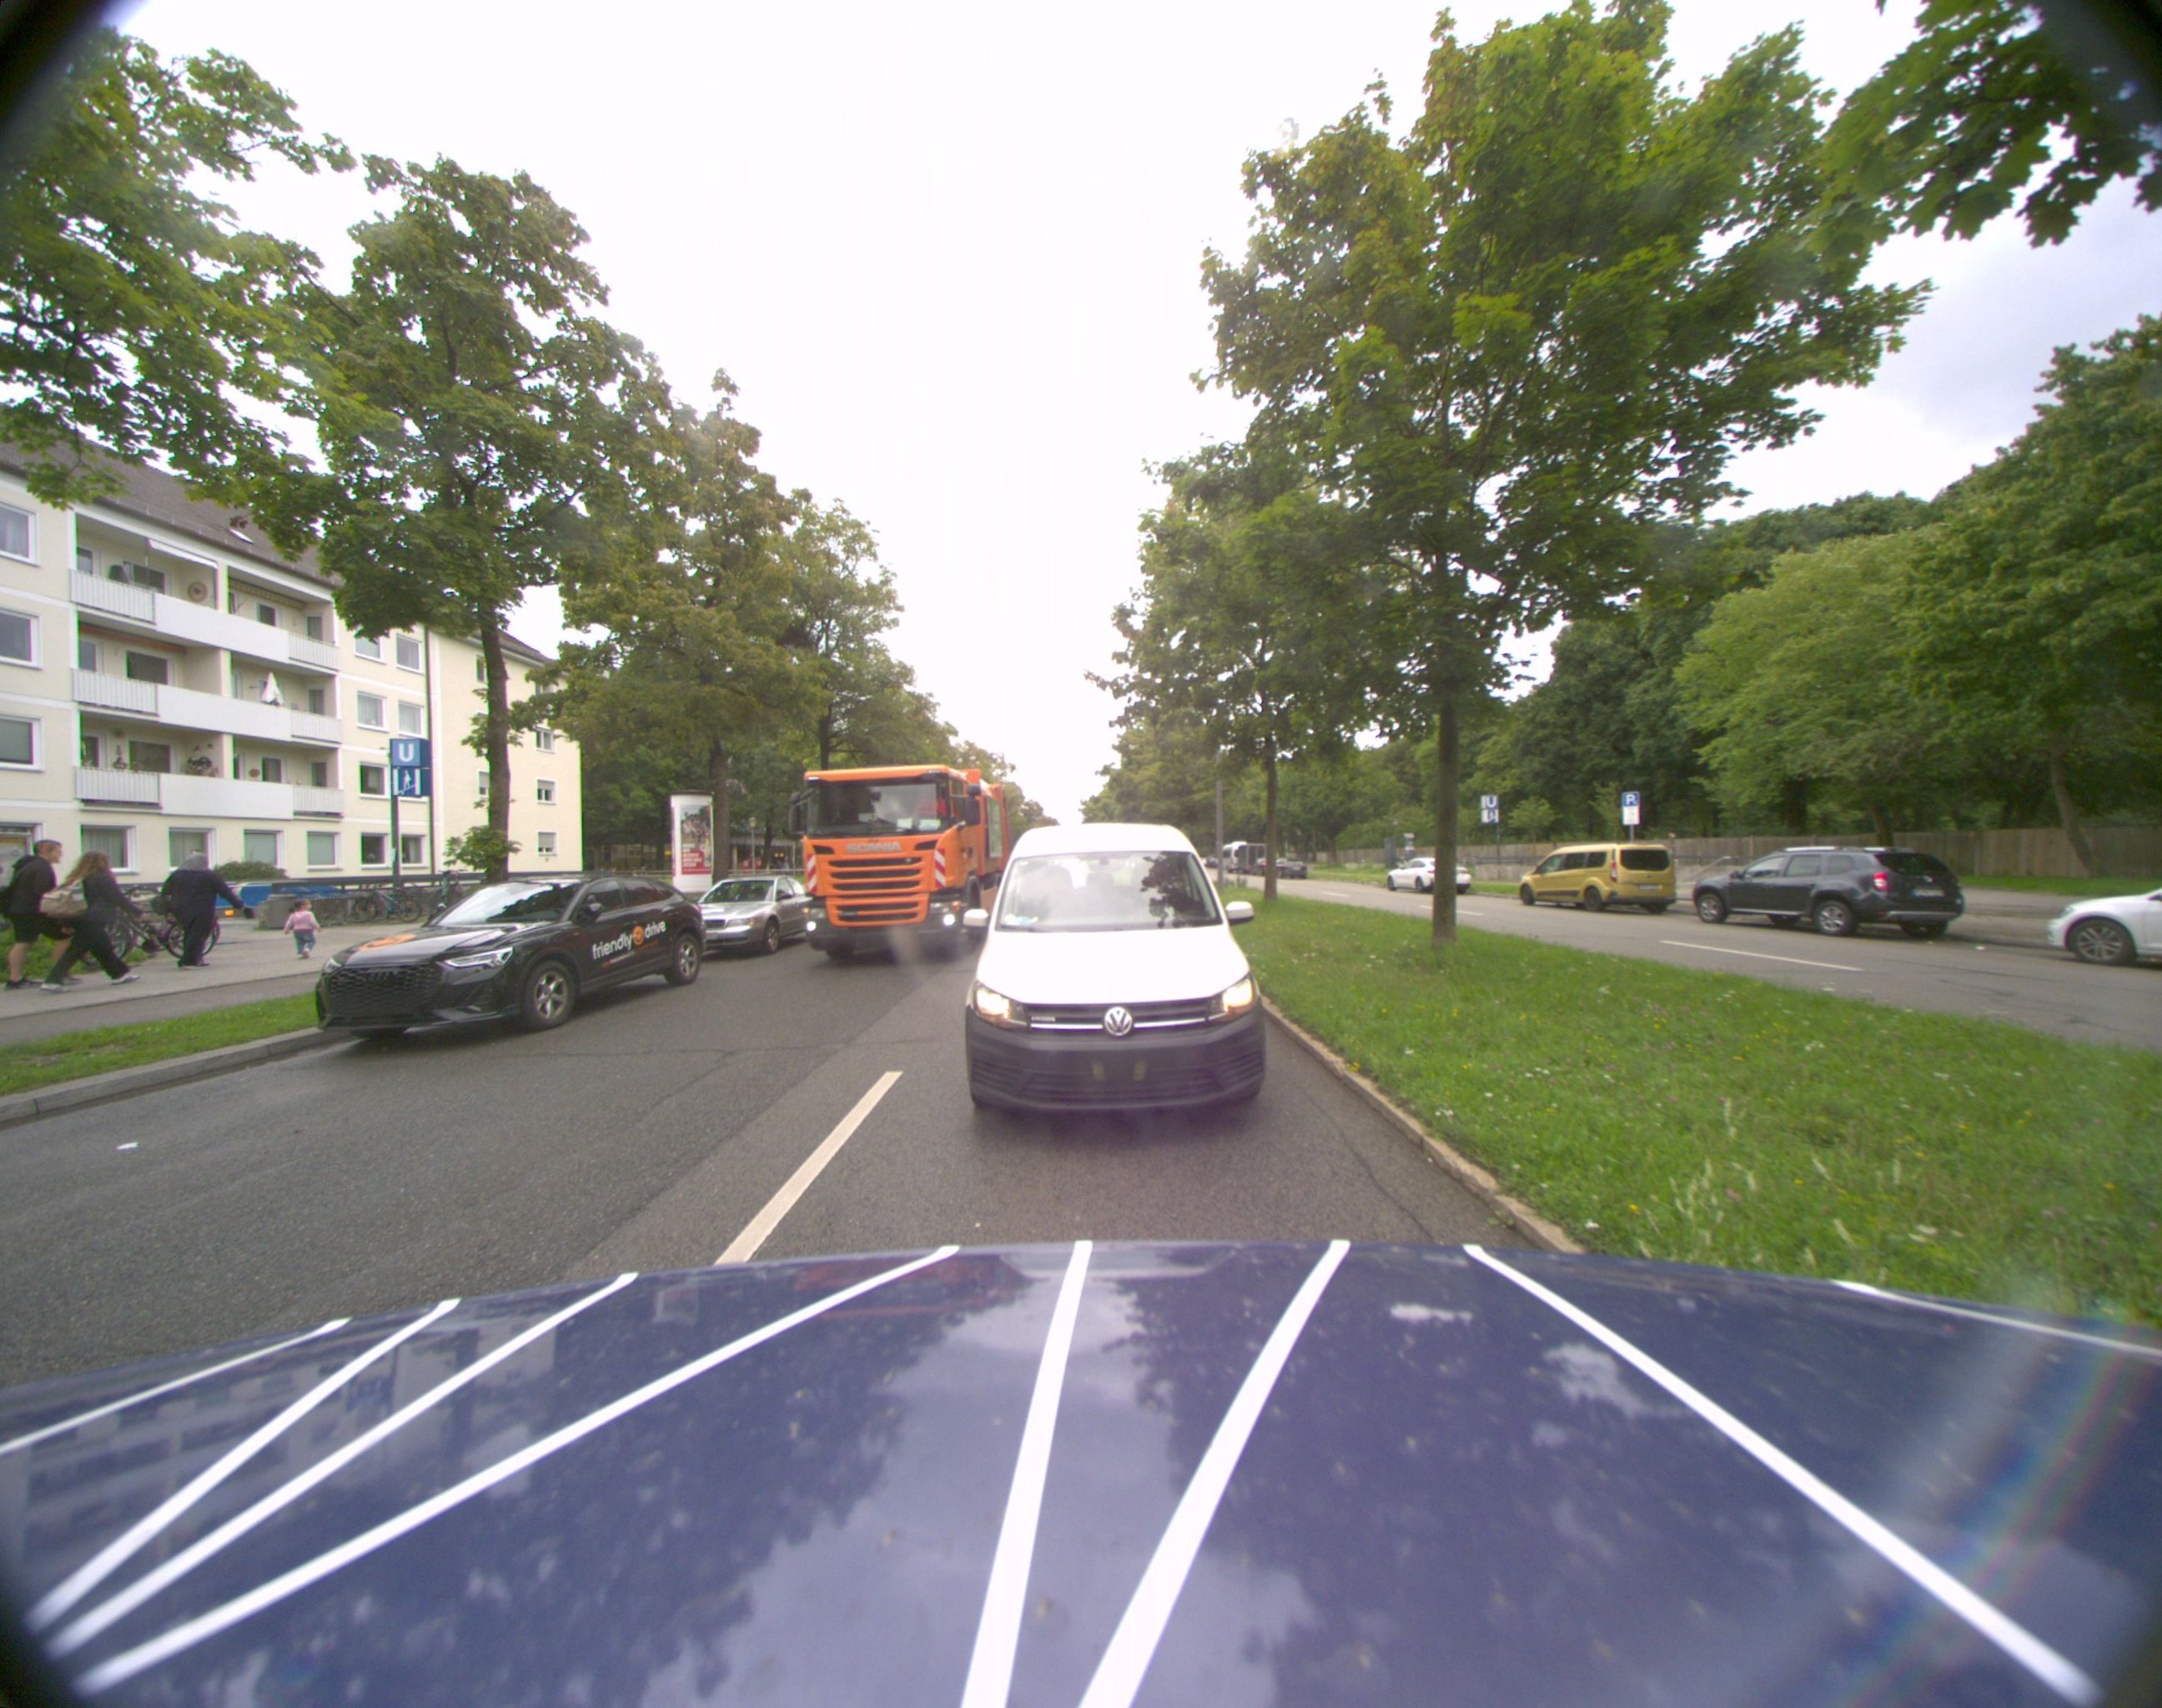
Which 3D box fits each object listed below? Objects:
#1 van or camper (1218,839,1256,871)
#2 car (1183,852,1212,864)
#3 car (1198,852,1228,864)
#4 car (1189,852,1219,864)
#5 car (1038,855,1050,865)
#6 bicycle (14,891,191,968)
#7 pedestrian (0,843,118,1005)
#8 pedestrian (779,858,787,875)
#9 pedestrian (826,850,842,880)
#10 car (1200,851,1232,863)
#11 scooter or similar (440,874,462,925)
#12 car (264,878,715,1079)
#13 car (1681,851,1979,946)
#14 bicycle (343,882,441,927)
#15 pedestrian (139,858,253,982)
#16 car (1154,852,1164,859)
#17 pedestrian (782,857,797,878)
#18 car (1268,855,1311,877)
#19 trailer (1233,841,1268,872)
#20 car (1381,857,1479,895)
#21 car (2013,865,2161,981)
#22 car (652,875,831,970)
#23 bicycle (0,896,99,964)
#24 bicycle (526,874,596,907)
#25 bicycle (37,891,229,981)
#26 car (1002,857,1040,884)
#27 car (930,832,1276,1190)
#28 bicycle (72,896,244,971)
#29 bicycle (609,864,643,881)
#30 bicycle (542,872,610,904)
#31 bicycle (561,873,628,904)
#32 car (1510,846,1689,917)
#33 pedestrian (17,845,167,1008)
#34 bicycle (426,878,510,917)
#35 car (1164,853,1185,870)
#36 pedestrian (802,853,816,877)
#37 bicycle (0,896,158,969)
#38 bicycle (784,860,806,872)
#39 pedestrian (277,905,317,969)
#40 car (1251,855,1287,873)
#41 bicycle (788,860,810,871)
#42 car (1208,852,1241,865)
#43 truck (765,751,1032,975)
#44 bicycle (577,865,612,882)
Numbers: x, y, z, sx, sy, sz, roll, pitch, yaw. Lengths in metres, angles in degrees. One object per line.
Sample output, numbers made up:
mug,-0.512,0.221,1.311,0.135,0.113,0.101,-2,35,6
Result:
van or camper,14.570,0.092,71.459,2.040,2.821,7.546,0,0,0
car,17.668,0.565,115.520,4.006,1.548,1.887,-3,0,-32
car,19.109,0.578,109.964,4.005,1.446,1.736,-3,0,-27
car,18.305,0.564,112.953,4.005,1.548,1.888,-3,0,-27
car,-5.887,0.991,122.240,1.735,1.498,4.441,-2,0,-1
bicycle,-15.958,1.192,12.478,0.432,1.095,1.883,0,0,1
pedestrian,-12.667,0.808,9.226,0.731,1.879,0.919,0,1,-1
pedestrian,-27.731,1.147,70.688,0.633,1.533,0.659,1,1,-26
pedestrian,-14.653,0.663,45.089,0.641,1.739,0.849,1,0,-1
car,19.044,0.468,106.914,4.005,1.455,1.888,-3,0,-27
scooter or similar,-15.861,1.127,19.125,0.359,1.193,1.386,-1,1,-42
car,-6.129,1.139,8.688,1.721,1.524,4.275,-2,0,0
car,14.613,0.769,15.236,1.741,1.636,4.255,0,0,0
bicycle,-16.535,1.204,18.249,1.882,1.022,0.432,0,1,-3
pedestrian,-12.729,0.907,10.966,0.843,1.671,0.832,-1,1,-34
car,16.877,0.355,164.049,1.889,1.435,4.169,-2,1,4
pedestrian,-22.599,1.024,58.917,0.780,1.565,0.581,-2,1,18
car,14.507,0.815,53.067,1.805,1.417,4.431,0,0,0
trailer,14.525,0.215,65.405,2.022,2.575,4.658,0,0,0
car,14.656,0.878,32.225,1.861,1.464,4.874,0,0,0
car,14.573,0.896,8.877,1.767,1.441,4.532,0,0,0
car,-6.298,1.194,14.661,1.640,1.378,4.243,-2,0,-3
bicycle,-17.696,1.263,12.564,0.432,1.022,1.883,0,0,1
bicycle,-16.625,1.168,24.315,1.882,1.022,0.432,0,1,-3
bicycle,-13.836,1.155,11.181,0.432,1.127,1.884,0,0,1
car,-3.577,0.983,46.076,1.799,1.434,4.667,-3,0,1
car,0.085,0.799,6.205,1.750,1.807,4.667,-1,0,-1
bicycle,-14.727,1.234,12.210,0.432,1.022,1.883,0,0,1
bicycle,-27.116,1.086,45.281,1.696,0.965,0.455,-1,0,-4
bicycle,-16.708,1.134,25.178,1.883,1.022,0.432,0,1,-6
bicycle,-16.474,1.157,25.737,1.883,1.022,0.432,0,1,-8
car,14.344,0.695,21.434,1.819,1.772,4.817,0,0,1
pedestrian,-11.946,0.833,9.213,0.589,1.879,0.902,-1,1,-1
bicycle,-16.651,1.184,20.661,1.882,1.022,0.432,0,1,-3
car,11.303,0.886,91.891,1.804,1.922,4.993,0,1,-1
pedestrian,-19.584,0.779,54.695,0.600,1.720,0.642,-2,1,20
bicycle,-16.660,1.254,12.577,0.432,1.022,1.883,0,0,1
bicycle,-28.706,1.195,76.300,2.080,1.114,0.455,-1,0,0
pedestrian,-12.337,1.298,11.957,0.434,0.944,0.410,0,1,44
car,14.712,0.759,59.609,1.805,1.376,4.238,0,0,0
bicycle,-29.178,1.159,78.516,2.080,1.114,0.455,-1,1,0
car,18.392,0.548,97.624,4.006,1.477,1.797,-3,0,-34
truck,-2.957,0.124,15.649,3.046,3.170,9.133,-2,0,1
bicycle,-28.899,1.142,45.143,1.696,0.965,0.455,-1,0,-4
